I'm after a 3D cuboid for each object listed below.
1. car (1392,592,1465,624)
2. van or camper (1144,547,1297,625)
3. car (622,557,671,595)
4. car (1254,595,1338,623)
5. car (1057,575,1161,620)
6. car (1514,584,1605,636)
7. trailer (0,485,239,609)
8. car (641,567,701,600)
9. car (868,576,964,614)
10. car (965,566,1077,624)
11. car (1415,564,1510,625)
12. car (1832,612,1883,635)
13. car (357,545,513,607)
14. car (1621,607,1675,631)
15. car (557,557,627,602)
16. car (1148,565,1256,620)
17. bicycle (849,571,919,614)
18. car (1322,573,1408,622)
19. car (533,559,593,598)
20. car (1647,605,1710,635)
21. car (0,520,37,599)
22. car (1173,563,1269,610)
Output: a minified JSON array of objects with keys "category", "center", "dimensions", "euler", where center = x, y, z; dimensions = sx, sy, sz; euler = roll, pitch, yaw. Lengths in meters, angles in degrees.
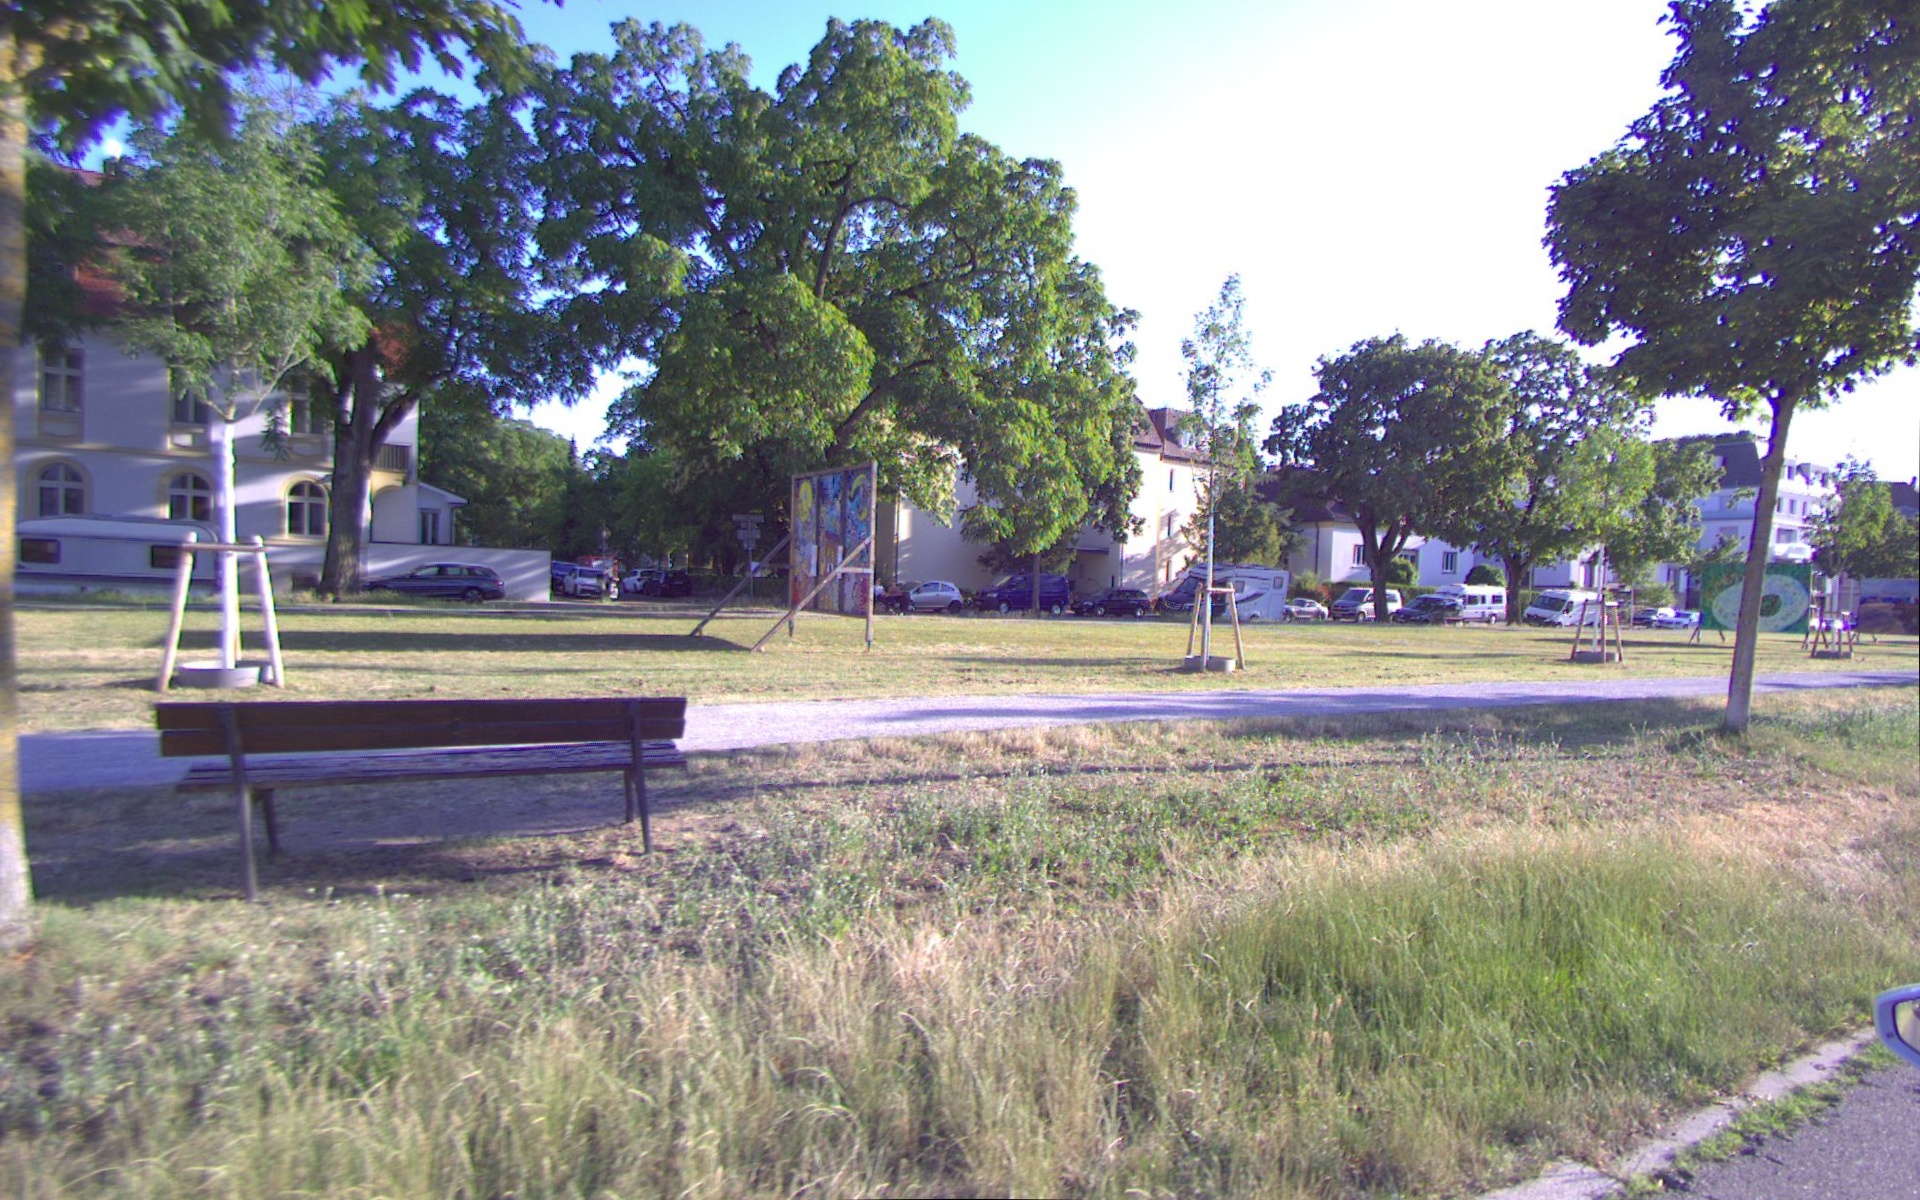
[{"category":"car","center":[25.043,0.419,53.613],"dimensions":[4.262,1.585,1.406],"euler":[2,1,-32]},{"category":"van or camper","center":[11.933,-0.616,45.887],"dimensions":[6.823,3.306,2.629],"euler":[1,1,-30]},{"category":"car","center":[-18.858,-1.453,60.255],"dimensions":[1.850,2.152,3.964],"euler":[1,2,-32]},{"category":"car","center":[19.210,0.526,57.384],"dimensions":[4.503,1.421,1.987],"euler":[2,-3,-27]},{"category":"car","center":[7.517,-0.115,50.407],"dimensions":[4.990,2.031,1.960],"euler":[1,1,-30]},{"category":"car","center":[36.211,0.664,60.647],"dimensions":[5.803,2.862,2.250],"euler":[3,-3,-30]},{"category":"trailer","center":[-22.257,-1.278,25.120],"dimensions":[6.562,2.693,2.461],"euler":[3,-3,-32]},{"category":"car","center":[-16.169,-0.935,56.086],"dimensions":[2.156,1.703,4.110],"euler":[1,1,-32]},{"category":"car","center":[-1.936,-0.224,44.643],"dimensions":[3.768,1.563,1.982],"euler":[1,1,-33]},{"category":"car","center":[2.892,-0.178,47.473],"dimensions":[5.057,2.450,1.928],"euler":[3,-3,-30]},{"category":"car","center":[32.641,-0.263,65.198],"dimensions":[6.687,3.605,2.292],"euler":[3,-3,-31]},{"category":"car","center":[75.397,1.997,84.394],"dimensions":[4.637,1.852,1.919],"euler":[3,-3,-31]},{"category":"car","center":[-18.084,-0.802,34.706],"dimensions":[4.658,1.938,1.881],"euler":[1,1,-30]},{"category":"car","center":[53.466,1.498,78.045],"dimensions":[4.614,1.725,1.773],"euler":[3,-3,-31]},{"category":"car","center":[-17.045,-0.984,46.392],"dimensions":[1.961,1.925,4.482],"euler":[1,1,-34]},{"category":"car","center":[13.081,-0.317,54.102],"dimensions":[6.021,2.631,1.984],"euler":[3,-3,-31]},{"category":"bicycle","center":[-2.526,-0.241,33.678],"dimensions":[2.301,1.360,0.508],"euler":[1,1,-28]},{"category":"car","center":[24.370,-0.088,60.374],"dimensions":[5.268,2.638,2.124],"euler":[3,-3,-33]},{"category":"car","center":[-20.183,-1.115,50.936],"dimensions":[2.048,1.793,5.025],"euler":[1,1,-31]},{"category":"car","center":[49.284,1.410,68.885],"dimensions":[4.587,1.924,1.825],"euler":[3,-3,-30]},{"category":"car","center":[-28.491,-1.192,27.788],"dimensions":[3.953,2.183,1.984],"euler":[1,1,-30]},{"category":"car","center":[11.933,-0.616,45.887],"dimensions":[3.953,2.041,1.984],"euler":[1,1,-30]}]
